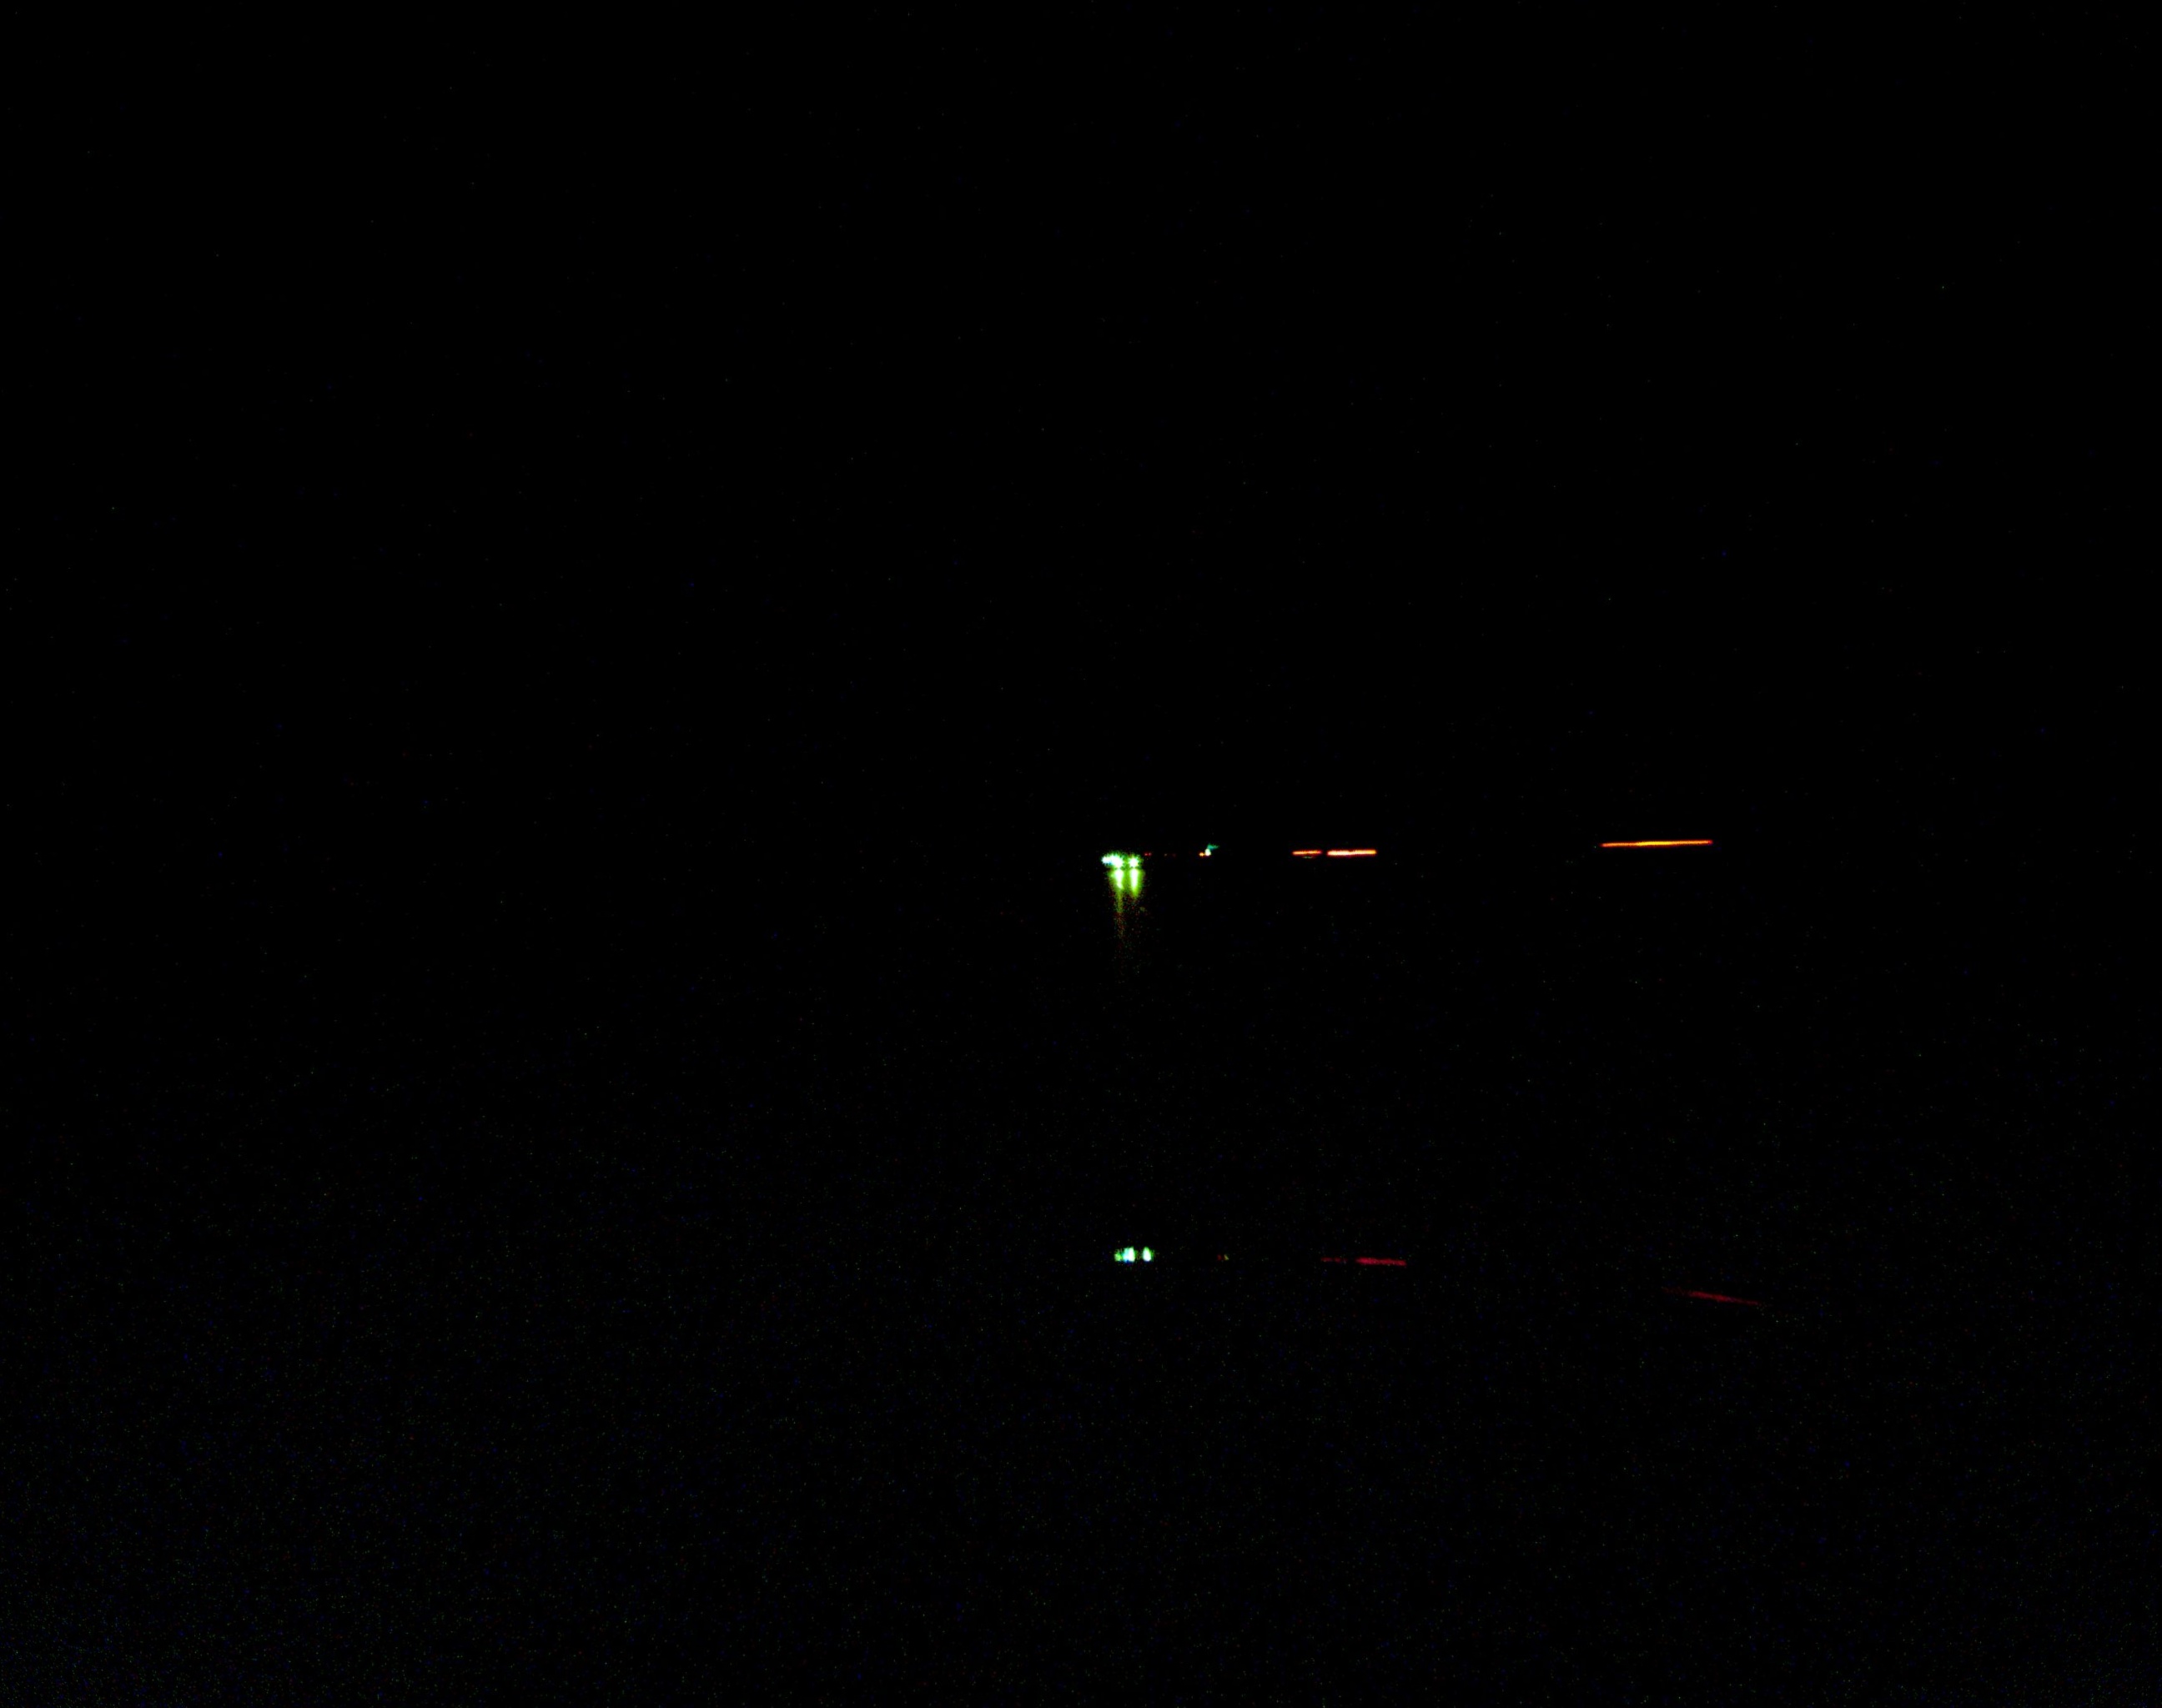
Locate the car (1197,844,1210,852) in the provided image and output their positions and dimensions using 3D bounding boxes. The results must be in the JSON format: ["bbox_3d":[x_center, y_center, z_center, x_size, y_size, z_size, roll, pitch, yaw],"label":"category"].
[{"bbox_3d":[25.284,-1.299,156.867,1.999,1.500,3.999,-3,0,-1],"label":"car"}]

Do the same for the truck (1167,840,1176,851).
[{"bbox_3d":[30.725,-2.884,258.691,2.525,3.829,9.066,-2,0,3],"label":"truck"}]

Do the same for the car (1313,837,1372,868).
[{"bbox_3d":[15.675,-0.103,45.808,1.998,1.724,4.659,-2,0,1],"label":"car"}]

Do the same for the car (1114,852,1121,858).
[{"bbox_3d":[11.182,0.286,234.514,1.999,1.724,4.225,-3,0,0],"label":"car"}]

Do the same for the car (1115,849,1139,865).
[{"bbox_3d":[4.530,0.344,76.043,1.999,1.422,4.329,-3,-1,-1],"label":"car"}]

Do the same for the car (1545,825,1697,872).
[{"bbox_3d":[19.848,-0.207,28.310,1.998,1.500,5.185,-2,0,1],"label":"car"}]

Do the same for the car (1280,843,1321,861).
[{"bbox_3d":[19.556,-0.157,67.976,1.999,1.500,5.202,-3,0,-1],"label":"car"}]
